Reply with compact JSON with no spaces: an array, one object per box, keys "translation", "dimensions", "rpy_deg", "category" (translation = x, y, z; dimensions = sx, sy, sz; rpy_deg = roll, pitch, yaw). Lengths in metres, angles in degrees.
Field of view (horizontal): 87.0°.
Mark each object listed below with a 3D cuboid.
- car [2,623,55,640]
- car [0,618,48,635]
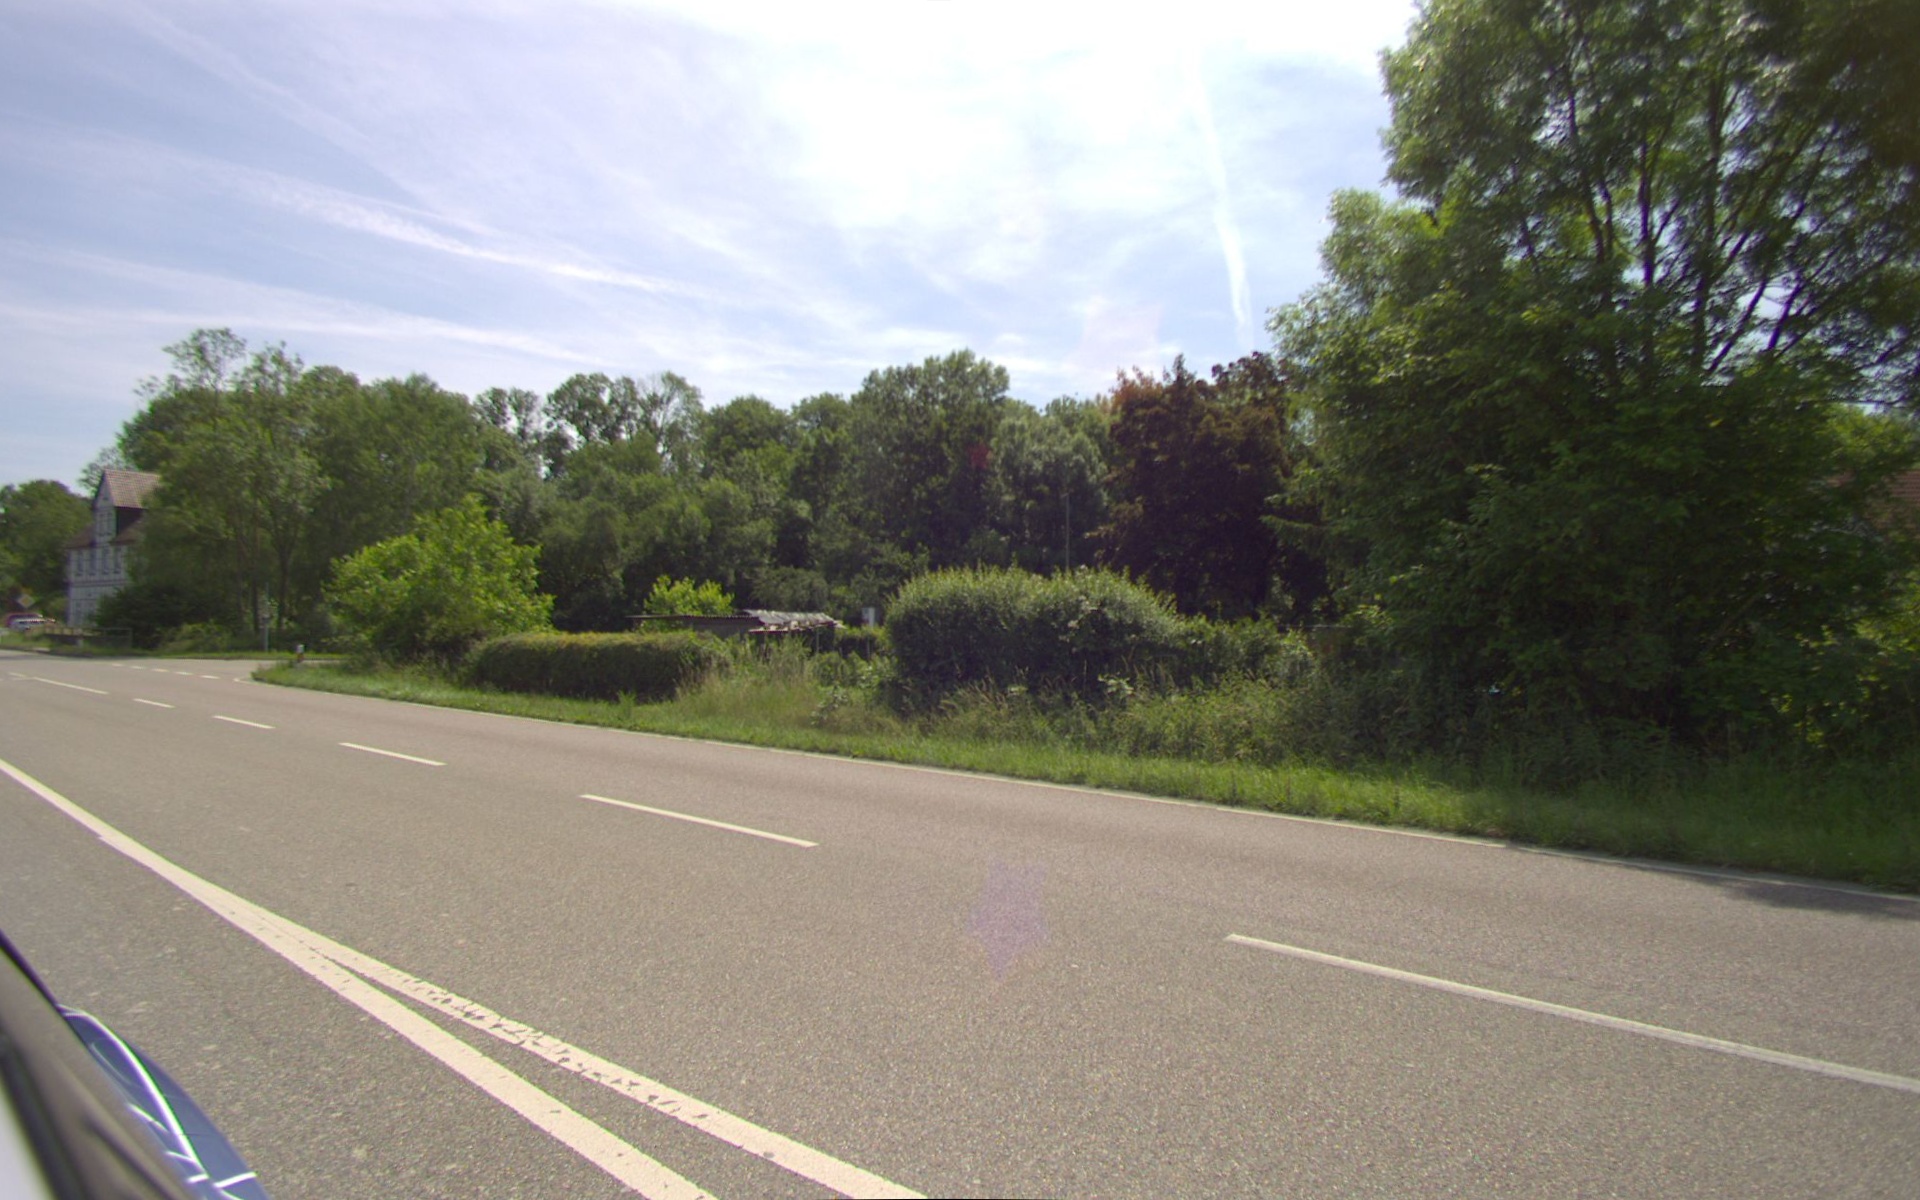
[{"translation":[-87.306,2.930,94.885],"dimensions":[1.605,1.476,3.350],"rpy_deg":[0,0,32],"category":"car"},{"translation":[-94.587,2.642,101.857],"dimensions":[1.831,1.631,3.987],"rpy_deg":[1,0,39],"category":"car"}]
